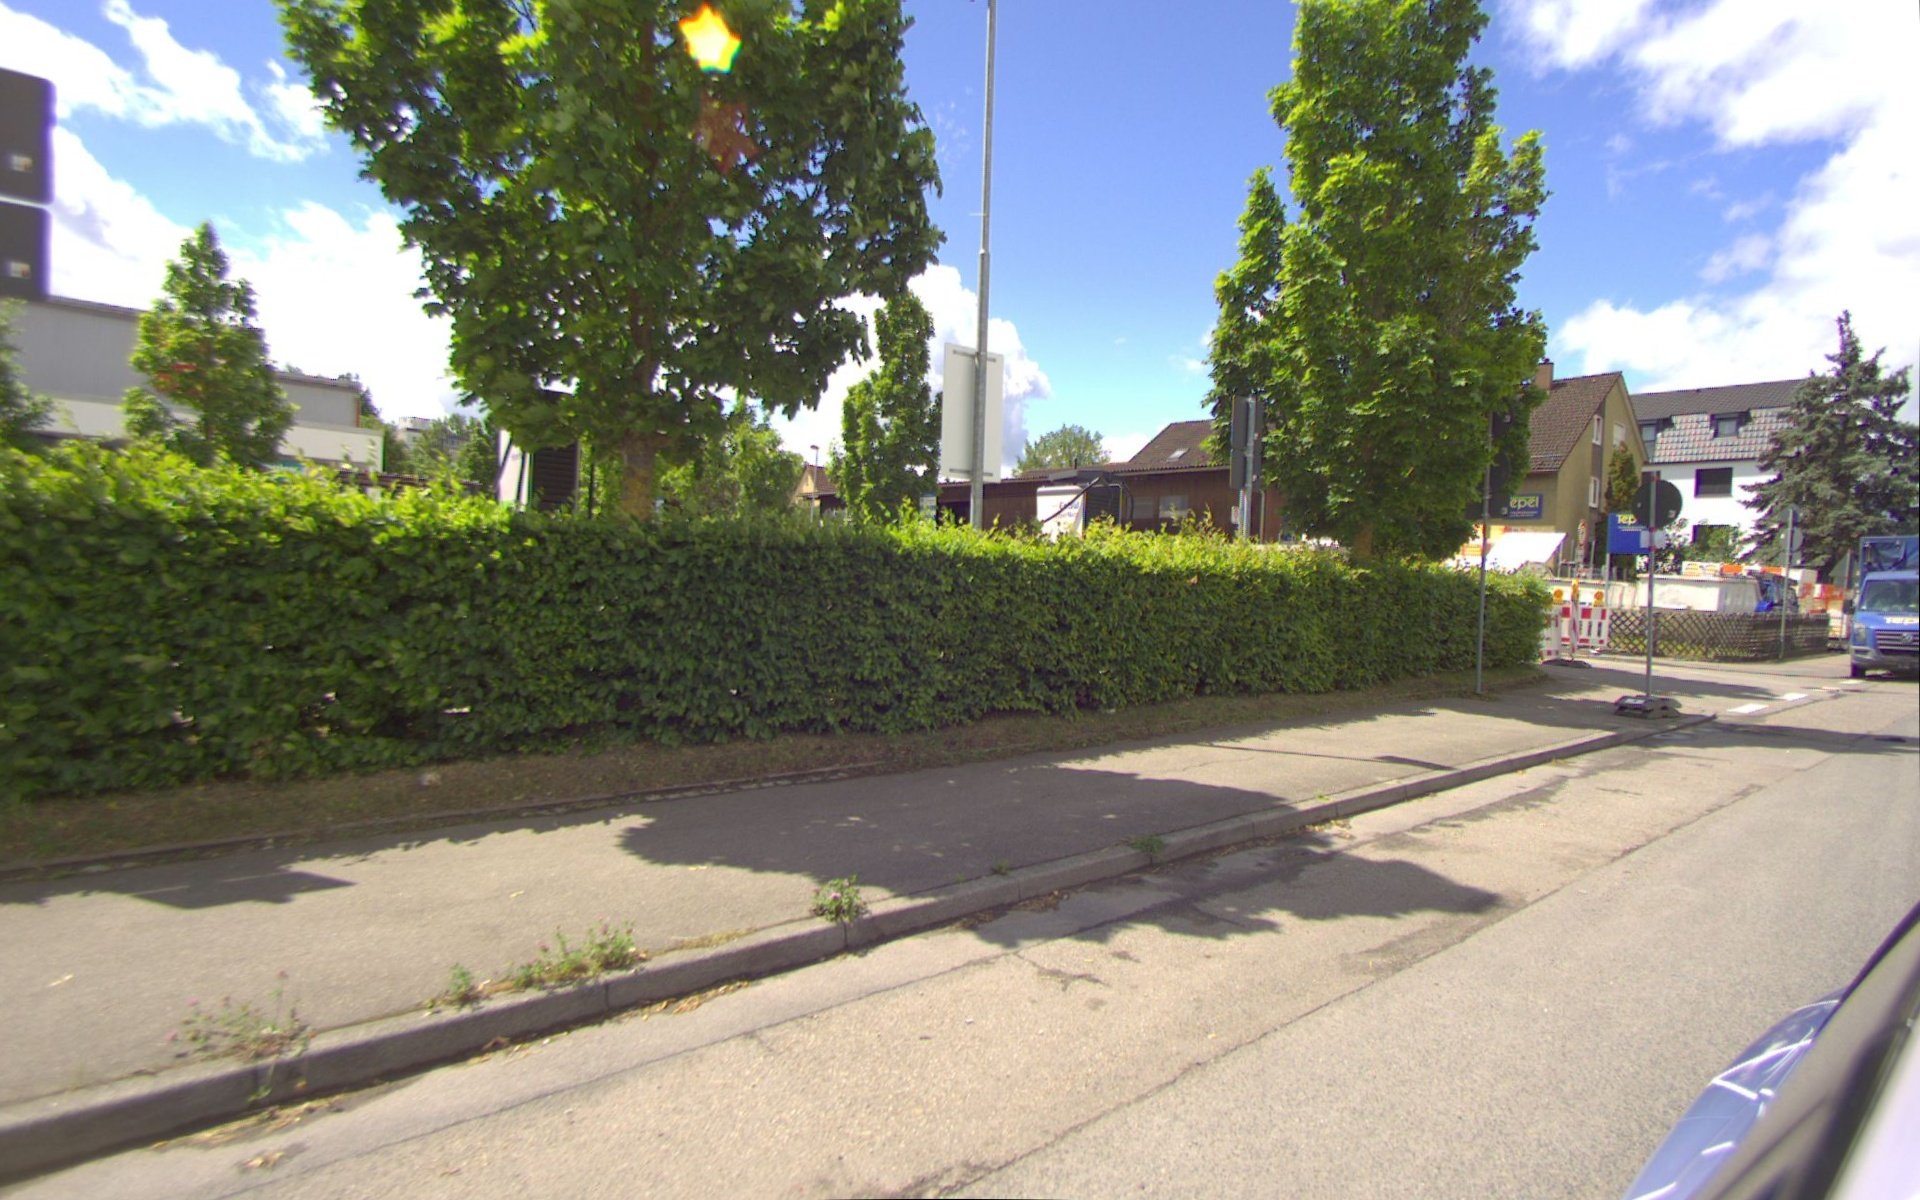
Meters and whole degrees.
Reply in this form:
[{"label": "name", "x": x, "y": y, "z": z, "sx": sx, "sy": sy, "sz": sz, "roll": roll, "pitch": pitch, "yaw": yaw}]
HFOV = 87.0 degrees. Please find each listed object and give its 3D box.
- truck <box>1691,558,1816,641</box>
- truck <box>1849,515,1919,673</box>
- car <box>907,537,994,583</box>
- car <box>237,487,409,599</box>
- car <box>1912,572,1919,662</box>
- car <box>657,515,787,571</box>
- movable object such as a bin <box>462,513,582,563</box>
[{"label": "truck", "x": 23.391, "y": 0.042, "z": 29.743, "sx": 5.291, "sy": 2.107, "sz": 1.833, "roll": 3, "pitch": 3, "yaw": -42}, {"label": "truck", "x": 21.351, "y": -0.082, "z": 21.939, "sx": 5.935, "sy": 3.136, "sz": 2.325, "roll": 1, "pitch": -1, "yaw": -41}, {"label": "car", "x": -0.434, "y": -1.888, "z": 48.828, "sx": 3.929, "sy": 2.039, "sz": 1.907, "roll": 1, "pitch": -1, "yaw": -41}, {"label": "car", "x": -11.498, "y": -0.908, "z": 18.152, "sx": 1.965, "sy": 1.728, "sz": 3.992, "roll": 1, "pitch": -1, "yaw": -42}, {"label": "car", "x": 25.733, "y": 0.448, "z": 25.648, "sx": 4.385, "sy": 2.196, "sz": 1.877, "roll": 1, "pitch": -1, "yaw": -40}, {"label": "car", "x": -8.022, "y": -1.881, "z": 34.281, "sx": 3.927, "sy": 1.605, "sz": 1.750, "roll": 1, "pitch": -1, "yaw": -38}, {"label": "movable object such as a bin", "x": -29.417, "y": -4.086, "z": 68.045, "sx": 6.578, "sy": 2.797, "sz": 3.937, "roll": 1, "pitch": -1, "yaw": -41}]
